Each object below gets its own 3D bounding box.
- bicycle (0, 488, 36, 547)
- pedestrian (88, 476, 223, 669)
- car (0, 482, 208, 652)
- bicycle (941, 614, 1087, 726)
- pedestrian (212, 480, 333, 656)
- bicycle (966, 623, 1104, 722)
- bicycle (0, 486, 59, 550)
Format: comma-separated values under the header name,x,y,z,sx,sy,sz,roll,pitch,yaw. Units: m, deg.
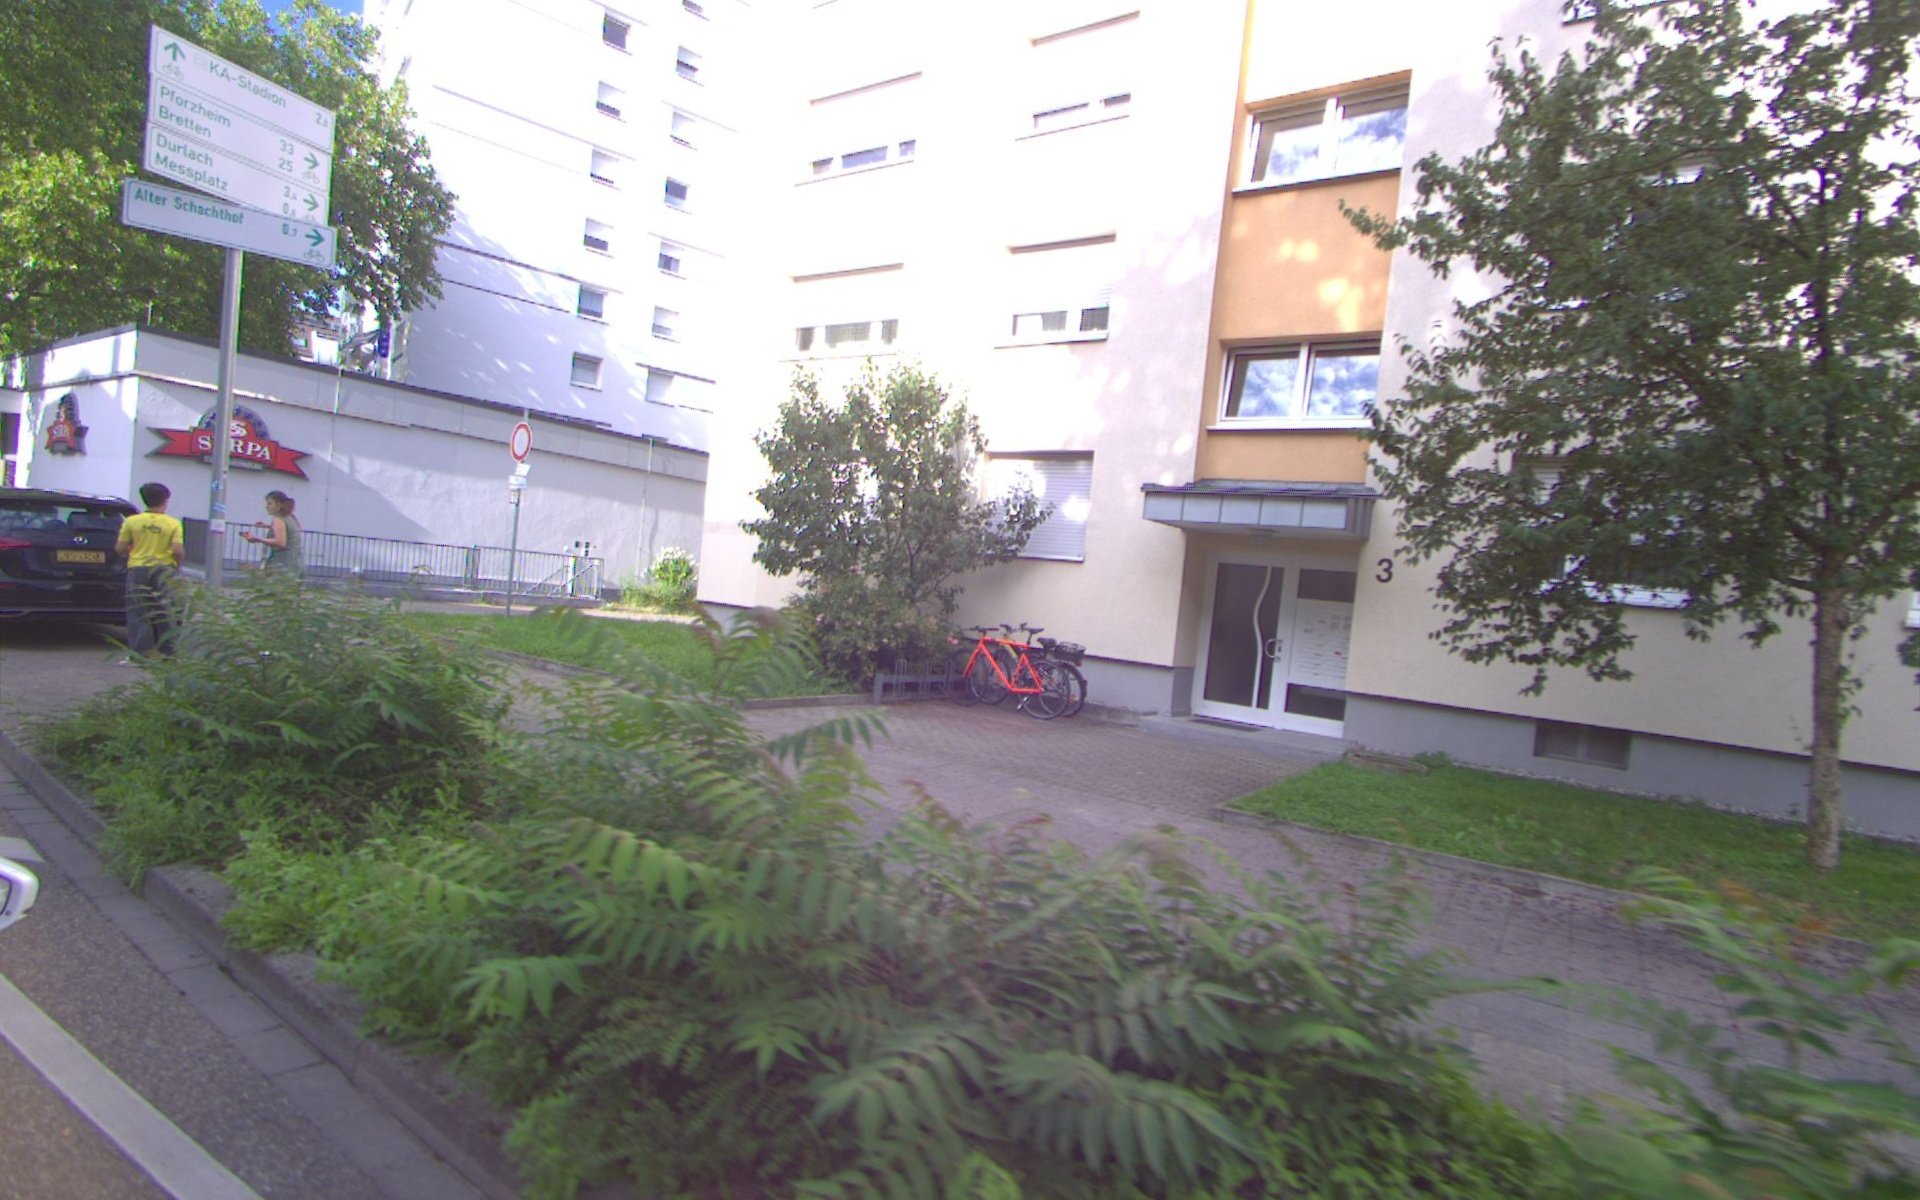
name,x,y,z,sx,sy,sz,roll,pitch,yaw
bicycle,-21.534,-1.900,22.616,1.742,1.221,0.710,7,2,35
pedestrian,-6.970,-0.237,8.720,0.730,1.559,0.652,7,3,31
car,-9.462,-0.447,10.168,4.166,1.430,1.759,7,2,35
bicycle,0.620,0.794,11.712,1.526,1.069,0.522,7,1,29
pedestrian,-6.942,-0.311,10.161,0.730,1.666,0.653,7,1,31
bicycle,0.897,0.857,12.190,1.526,0.976,0.478,7,1,29
bicycle,-20.091,-1.771,21.549,1.787,1.222,0.768,7,3,35
